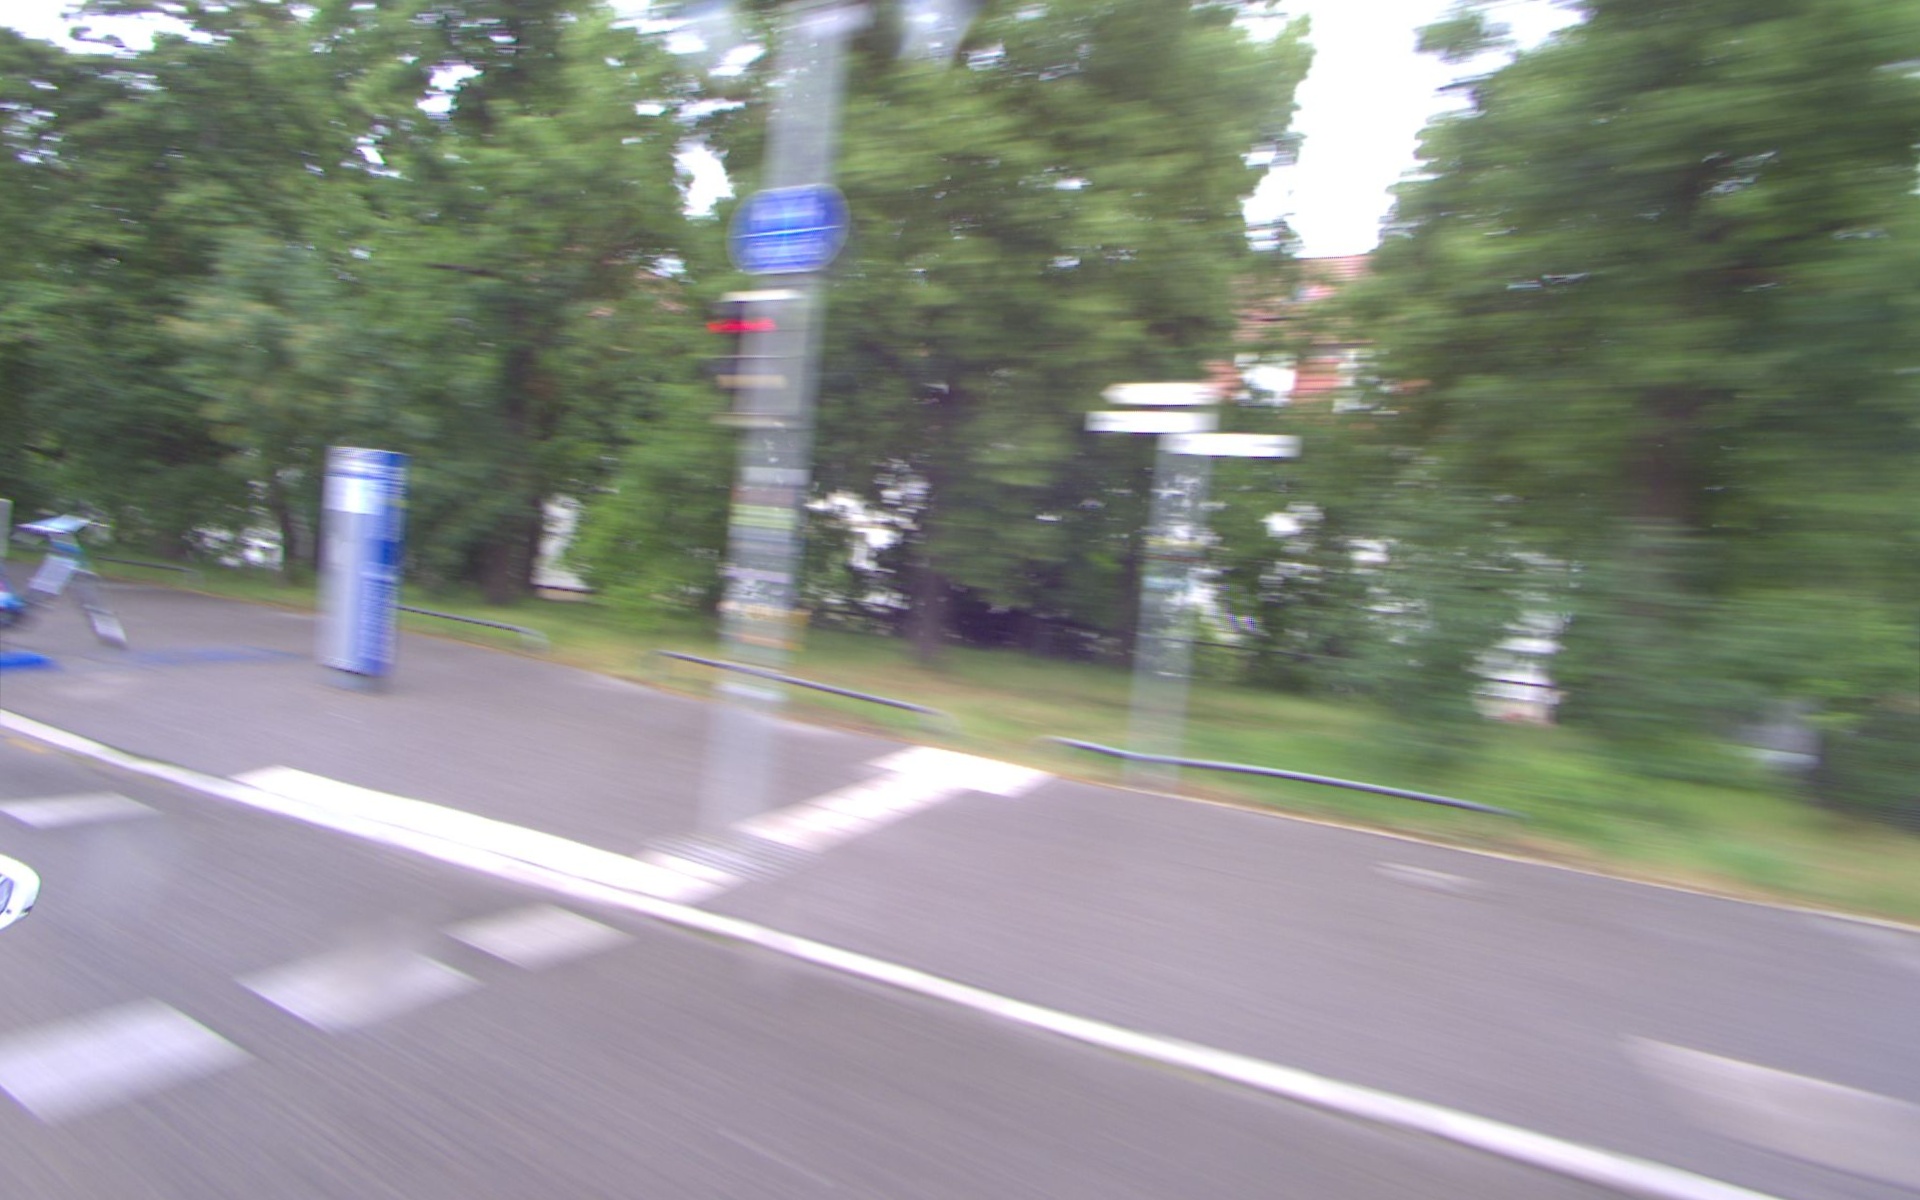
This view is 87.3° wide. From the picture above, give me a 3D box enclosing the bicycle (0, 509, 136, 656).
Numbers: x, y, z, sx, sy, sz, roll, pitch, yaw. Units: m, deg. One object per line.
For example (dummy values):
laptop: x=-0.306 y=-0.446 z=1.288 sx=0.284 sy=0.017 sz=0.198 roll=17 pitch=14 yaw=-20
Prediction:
bicycle: x=-7.723 y=-0.152 z=8.114 sx=0.546 sy=1.147 sz=1.597 roll=5 pitch=3 yaw=22
